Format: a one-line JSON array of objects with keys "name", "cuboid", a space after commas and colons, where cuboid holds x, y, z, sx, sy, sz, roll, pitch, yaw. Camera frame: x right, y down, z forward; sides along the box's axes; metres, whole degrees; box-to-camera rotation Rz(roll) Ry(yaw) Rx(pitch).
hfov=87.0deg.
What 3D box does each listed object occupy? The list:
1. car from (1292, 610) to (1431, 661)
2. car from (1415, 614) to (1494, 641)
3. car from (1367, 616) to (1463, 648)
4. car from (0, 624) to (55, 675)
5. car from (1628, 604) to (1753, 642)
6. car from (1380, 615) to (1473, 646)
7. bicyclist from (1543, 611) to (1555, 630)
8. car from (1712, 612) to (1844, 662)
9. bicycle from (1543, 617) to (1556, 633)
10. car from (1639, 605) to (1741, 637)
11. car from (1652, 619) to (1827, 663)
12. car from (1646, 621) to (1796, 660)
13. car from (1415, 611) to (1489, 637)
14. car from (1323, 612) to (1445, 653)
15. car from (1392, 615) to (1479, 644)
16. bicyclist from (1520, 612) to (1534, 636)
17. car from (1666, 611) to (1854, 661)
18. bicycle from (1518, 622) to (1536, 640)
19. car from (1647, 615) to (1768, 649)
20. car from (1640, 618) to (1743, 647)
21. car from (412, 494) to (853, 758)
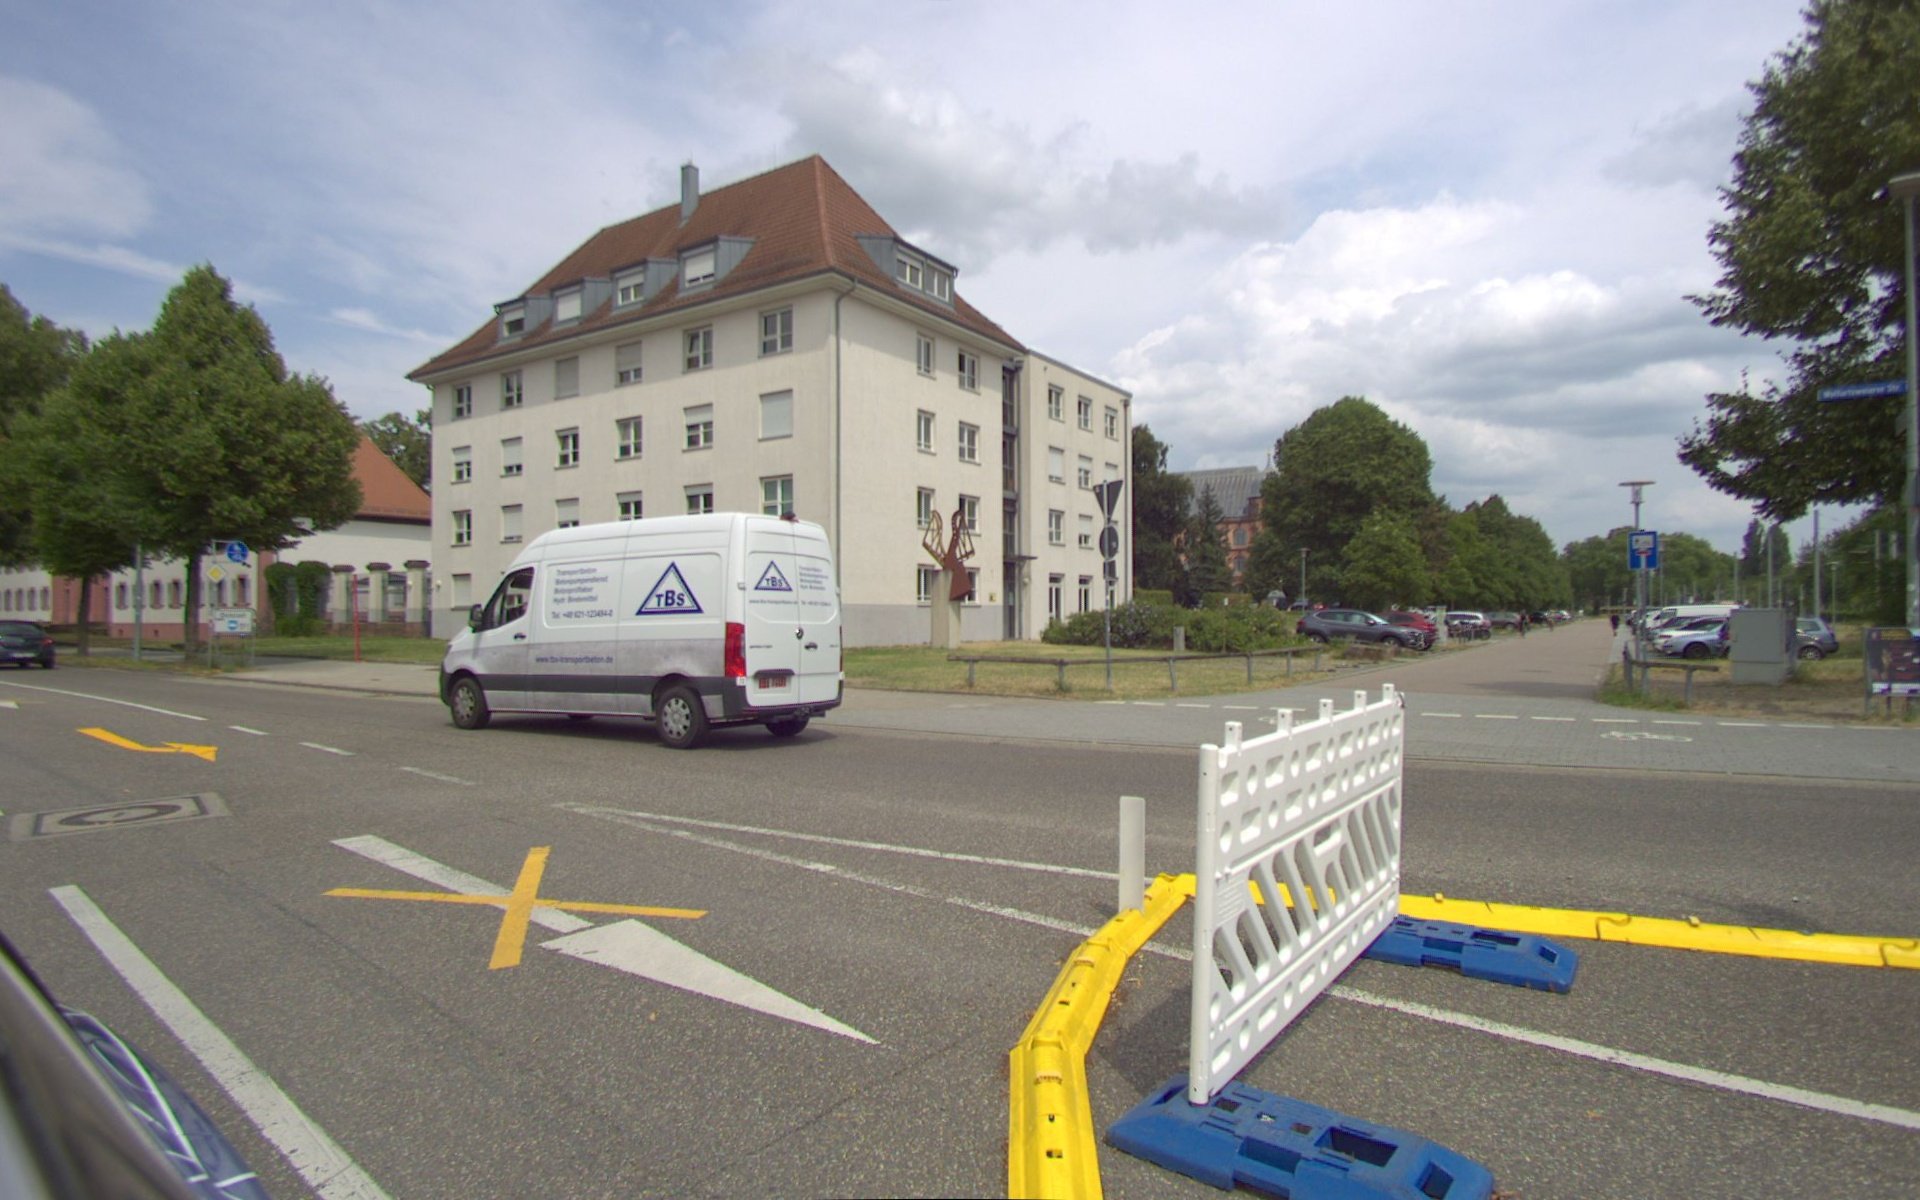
[{"name": "car", "cuboid": [14.816, 1.287, 37.397, 4.487, 1.778, 1.978, -1, -1, 33]}, {"name": "car", "cuboid": [28.748, 1.572, 58.863, 3.995, 1.479, 1.797, -1, -1, 33]}, {"name": "car", "cuboid": [21.858, 1.508, 48.651, 3.995, 1.479, 1.597, -1, -1, 33]}, {"name": "car", "cuboid": [-28.481, 1.447, 30.102, 3.914, 1.421, 1.656, -1, -1, 38]}, {"name": "car", "cuboid": [41.367, 1.277, 57.495, 5.552, 2.071, 2.177, -1, -1, 32]}, {"name": "car", "cuboid": [23.187, 1.524, 50.298, 3.995, 1.479, 1.797, -1, -1, 33]}, {"name": "bicyclist", "cuboid": [44.959, 1.586, 77.230, 0.776, 1.415, 0.722, -1, -1, 30]}, {"name": "car", "cuboid": [25.695, 1.184, 31.904, 2.902, 1.434, 1.470, -3, -3, 27]}, {"name": "bicycle", "cuboid": [45.014, 1.935, 77.318, 0.776, 1.185, 2.207, -1, -1, 29]}, {"name": "car", "cuboid": [49.826, 1.426, 69.246, 5.555, 2.071, 2.176, -1, -1, 34]}, {"name": "car", "cuboid": [28.048, 1.434, 36.637, 4.876, 1.482, 1.812, -1, -1, 34]}, {"name": "car", "cuboid": [30.403, 1.595, 40.631, 4.697, 1.482, 1.812, -1, -1, 34]}, {"name": "car", "cuboid": [30.682, 1.490, 63.156, 3.995, 1.586, 1.797, -1, -2, 33]}, {"name": "car", "cuboid": [17.607, 1.332, 42.071, 4.397, 1.610, 1.976, -1, -1, 35]}, {"name": "car", "cuboid": [25.166, 1.542, 53.592, 3.995, 1.479, 1.797, -1, -1, 33]}, {"name": "bicyclist", "cuboid": [34.080, 1.425, 60.824, 0.602, 1.434, 0.792, -2, -2, 41]}, {"name": "car", "cuboid": [26.817, 1.226, 34.172, 4.689, 1.482, 1.814, -3, -2, 31]}, {"name": "bicycle", "cuboid": [34.055, 1.829, 60.772, 0.601, 1.054, 1.804, -2, -2, 40]}, {"name": "car", "cuboid": [34.436, 1.441, 46.793, 4.376, 1.482, 1.812, -1, -1, 34]}, {"name": "car", "cuboid": [38.501, 1.682, 53.394, 4.300, 1.482, 1.812, -1, -1, 34]}, {"name": "car", "cuboid": [-4.330, 0.303, 12.886, 5.951, 2.706, 2.048, -1, -1, 33]}]
